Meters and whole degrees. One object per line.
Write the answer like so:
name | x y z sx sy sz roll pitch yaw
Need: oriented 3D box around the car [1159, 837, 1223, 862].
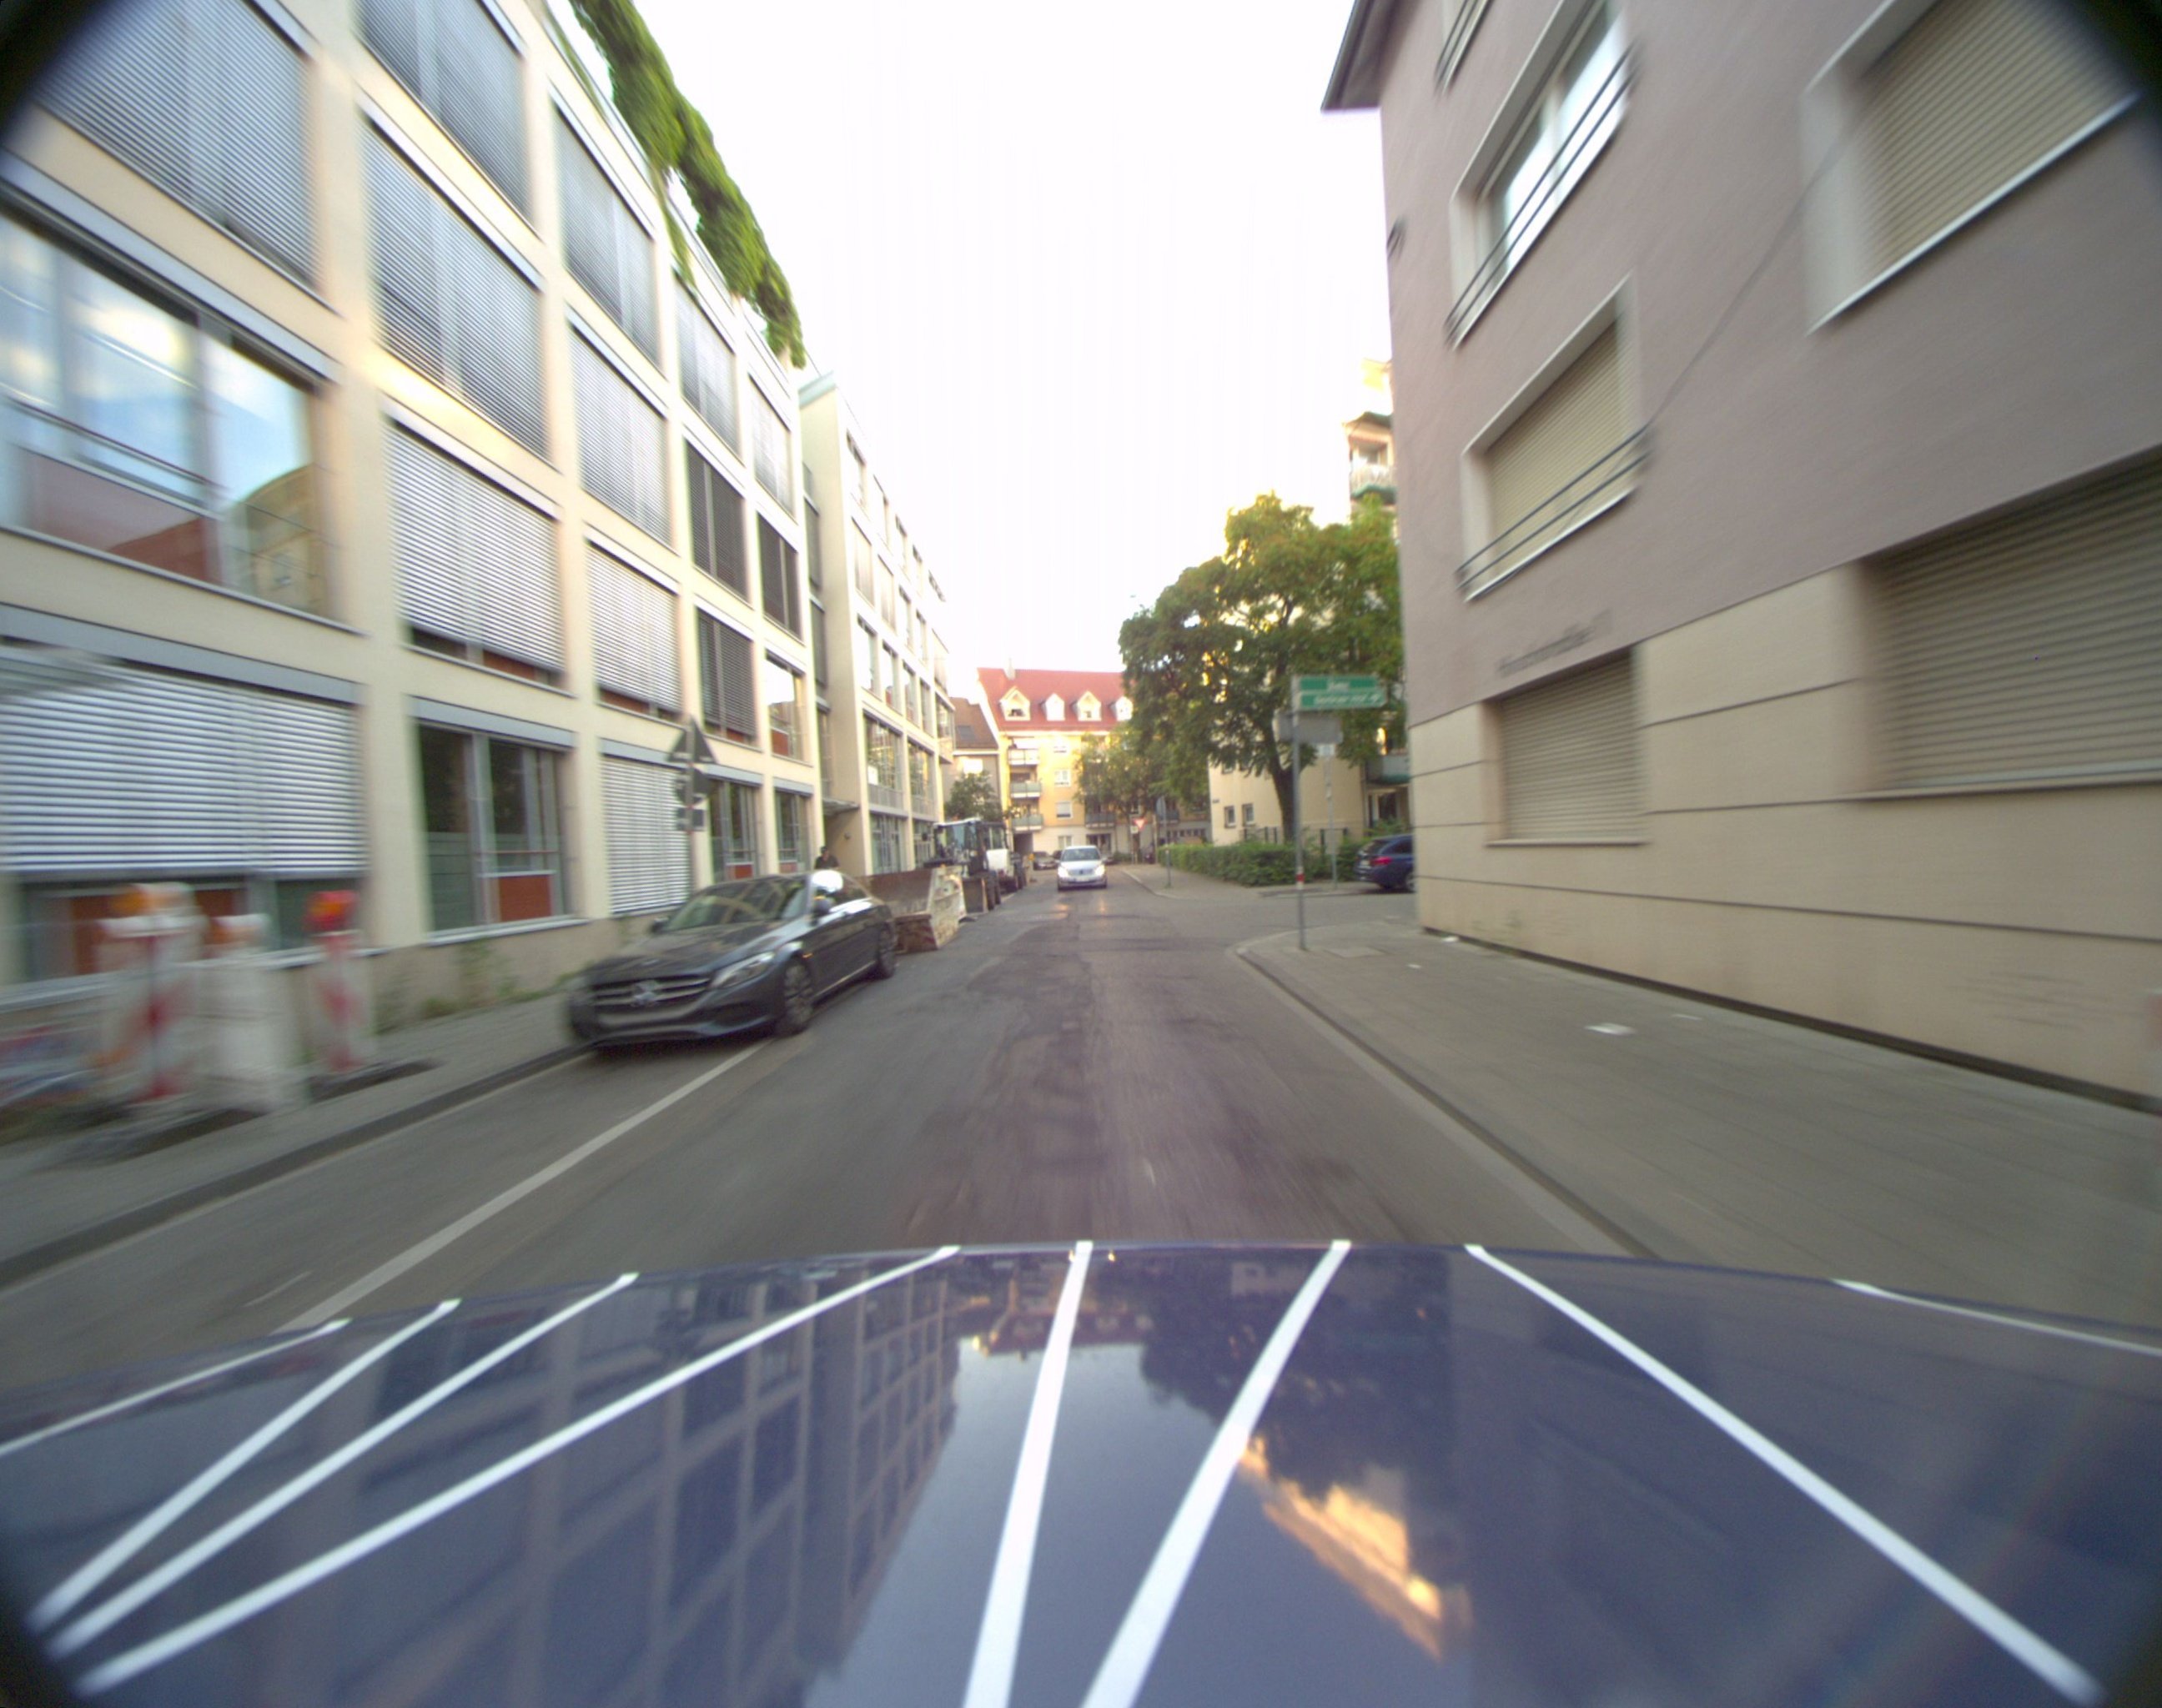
car | 8.424 -0.361 58.358 4.396 1.686 1.996 -3 1 -19

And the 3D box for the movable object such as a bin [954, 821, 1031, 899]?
movable object such as a bin | -3.334 0.162 29.863 2.021 2.608 5.749 -6 1 1

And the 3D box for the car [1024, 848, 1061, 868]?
car | -3.165 0.300 61.666 1.749 1.395 4.237 -3 3 -22

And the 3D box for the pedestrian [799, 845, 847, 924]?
pedestrian | -6.148 0.720 18.140 0.807 1.809 0.722 -3 2 0

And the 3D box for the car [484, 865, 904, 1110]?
car | -3.306 1.002 7.698 1.791 1.463 4.445 -5 1 1

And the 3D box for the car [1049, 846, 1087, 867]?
car | -1.131 0.173 62.700 1.749 1.494 4.237 -3 3 -22

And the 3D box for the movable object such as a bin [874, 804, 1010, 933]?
movable object such as a bin | -3.278 0.290 19.310 2.021 2.608 5.750 -6 1 1

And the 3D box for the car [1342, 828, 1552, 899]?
car | 9.067 0.203 19.046 4.382 1.473 1.726 -3 2 -1

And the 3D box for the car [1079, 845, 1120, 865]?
car | 1.493 0.051 63.619 1.829 1.460 4.320 -3 3 -22

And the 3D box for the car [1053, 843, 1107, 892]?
car | -0.006 0.459 28.534 1.804 1.607 4.272 -2 0 1

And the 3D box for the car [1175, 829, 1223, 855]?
car | 10.297 -1.089 66.510 2.231 2.066 4.320 -3 3 -22

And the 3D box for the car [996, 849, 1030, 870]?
car | -5.473 0.415 60.766 1.634 1.443 3.849 -3 3 -22

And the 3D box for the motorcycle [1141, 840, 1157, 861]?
motorcycle | 4.719 -0.262 52.587 0.858 1.345 1.960 -3 1 10

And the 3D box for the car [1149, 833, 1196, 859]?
car | 7.865 -0.721 65.886 2.231 2.066 4.320 -3 3 -22
